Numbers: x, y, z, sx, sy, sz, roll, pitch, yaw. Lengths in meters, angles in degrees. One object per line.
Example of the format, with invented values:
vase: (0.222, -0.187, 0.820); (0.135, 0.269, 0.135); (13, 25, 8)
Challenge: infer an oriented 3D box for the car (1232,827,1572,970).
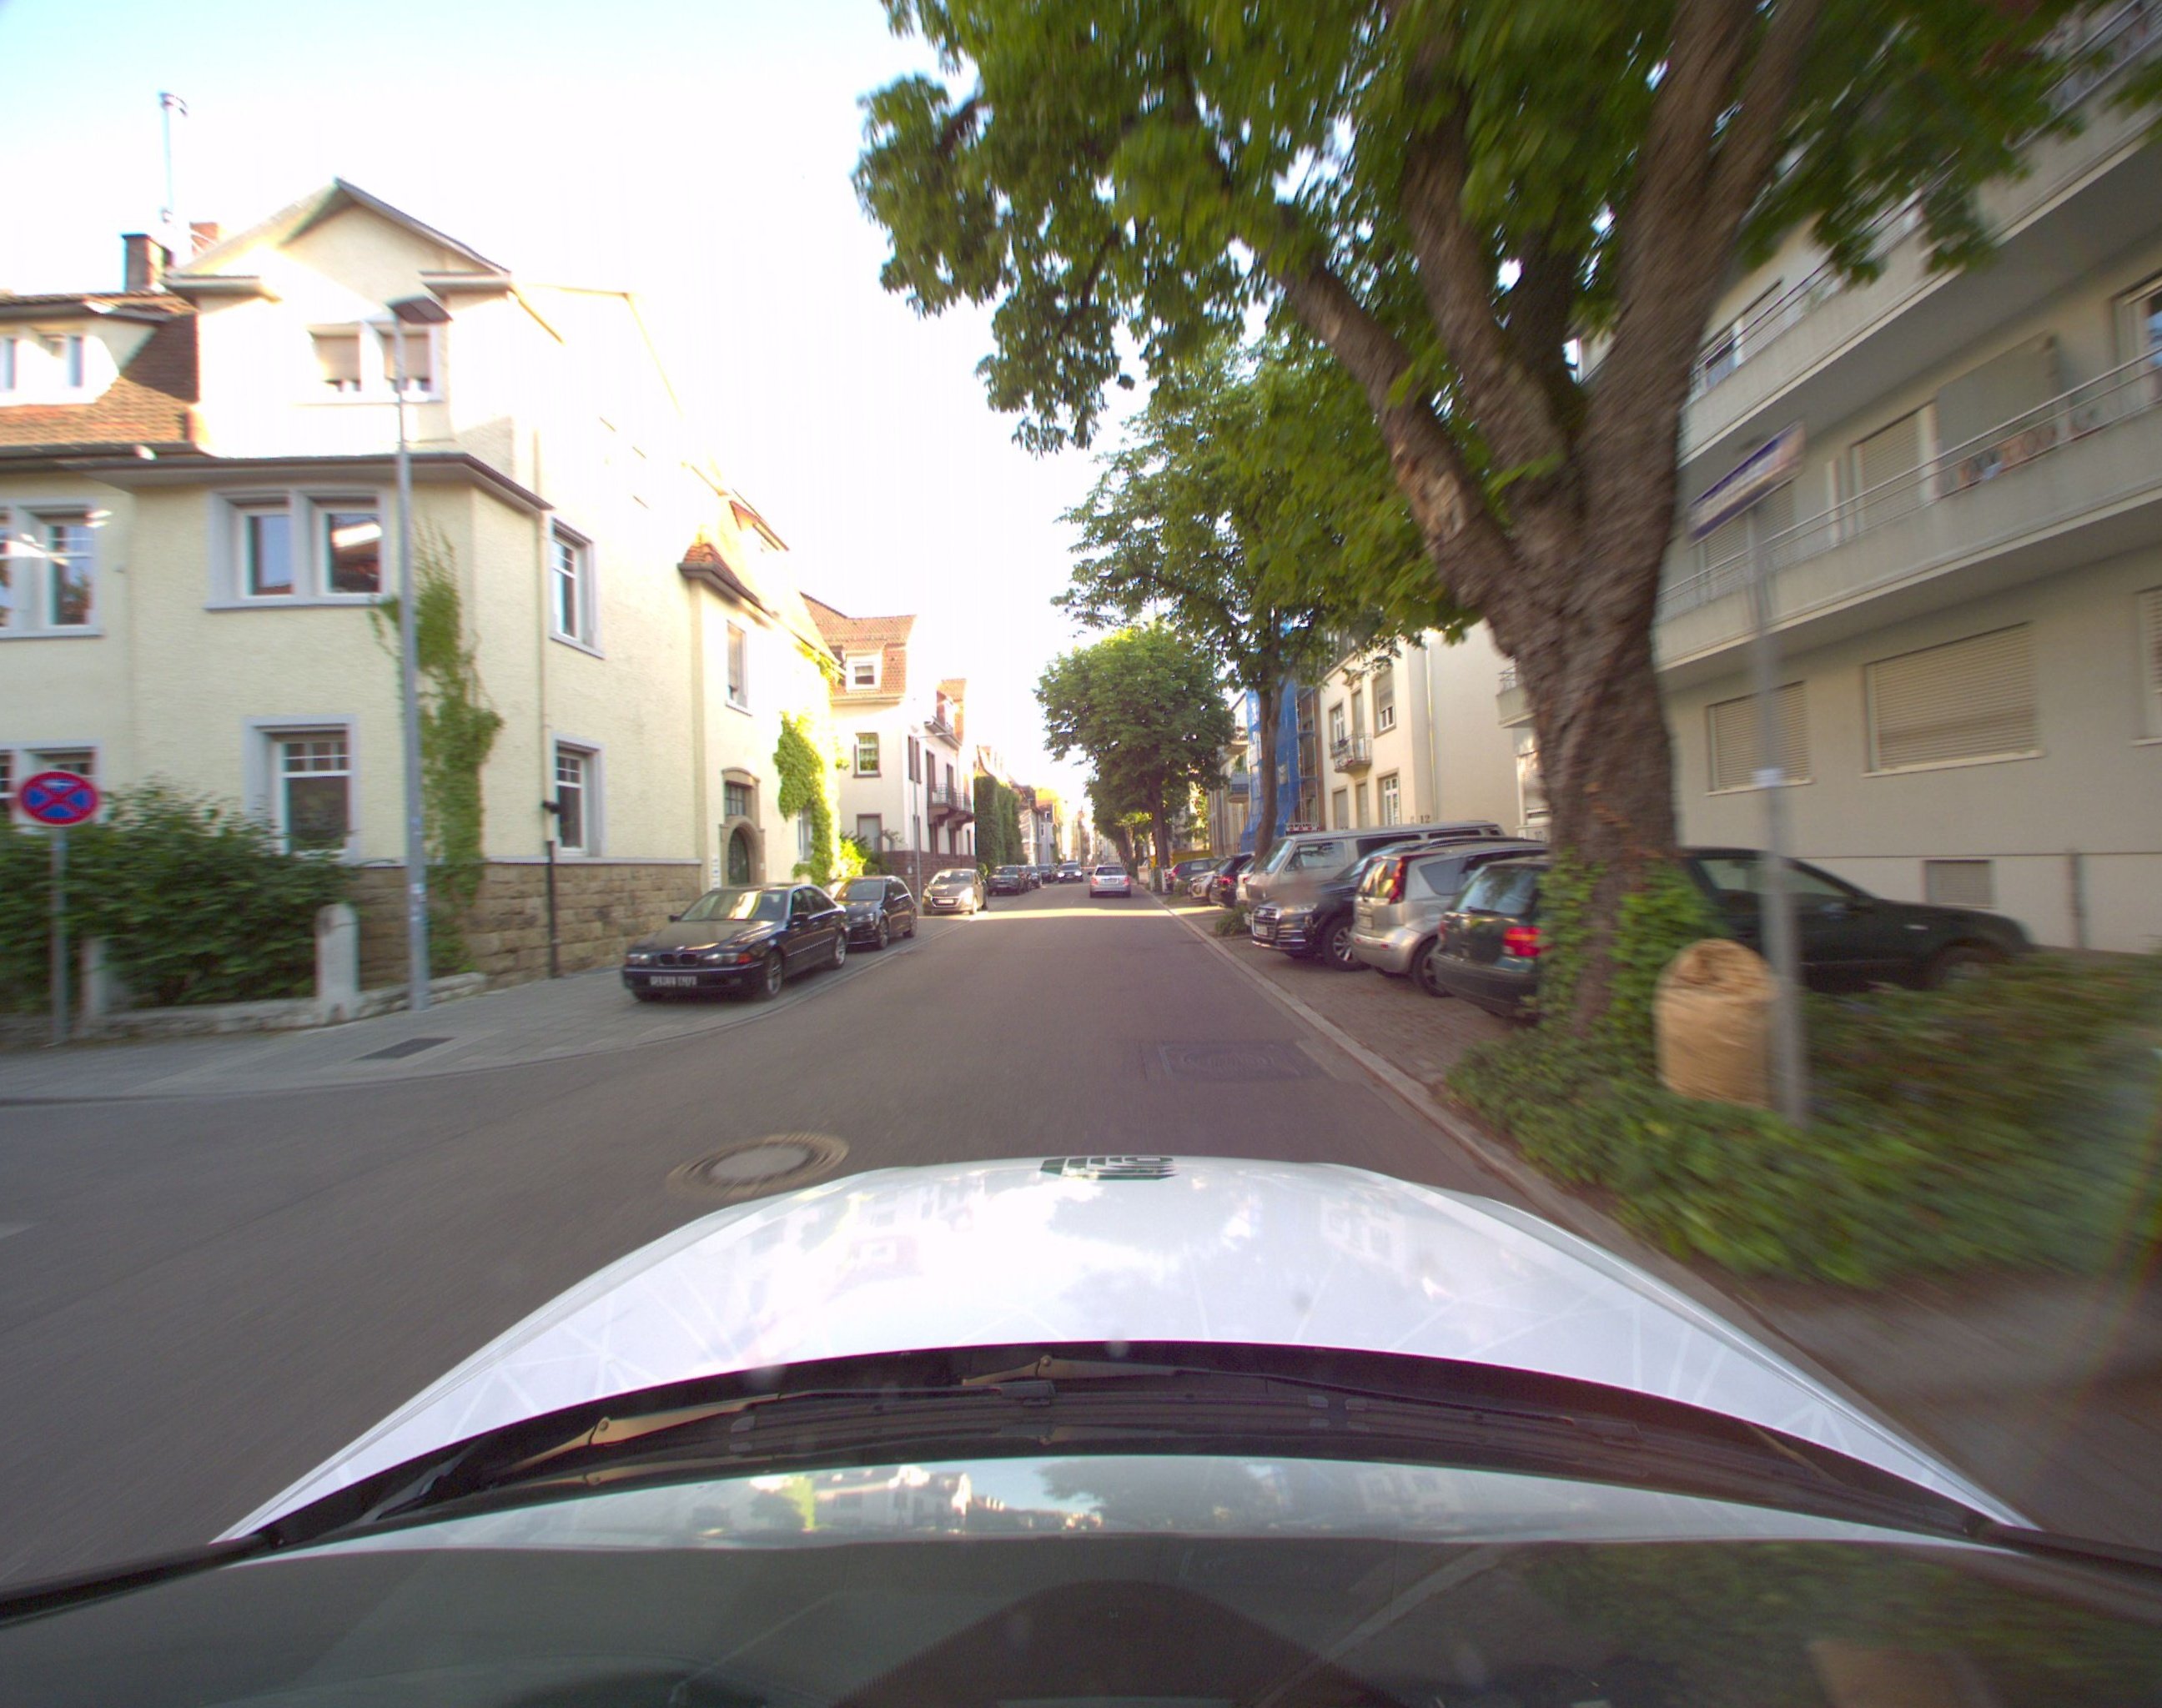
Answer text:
car: (4.499, 0.601, 11.770); (4.170, 1.724, 1.762); (-2, -2, -6)

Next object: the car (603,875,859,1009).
car: (-4.718, 1.093, 11.834); (1.704, 1.470, 4.632); (-1, -1, 0)

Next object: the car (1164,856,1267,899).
car: (5.528, 0.960, 33.909); (3.970, 1.492, 1.852); (-4, -1, 3)

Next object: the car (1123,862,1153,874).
car: (8.336, 2.099, 119.050); (4.171, 1.475, 1.853); (-4, -1, 4)

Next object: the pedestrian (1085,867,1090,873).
pedestrian: (1.822, 4.400, 221.069); (1.215, 1.722, 1.505); (-1, -1, 5)

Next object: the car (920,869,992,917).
car: (-4.134, 1.272, 27.497); (1.647, 1.447, 4.006); (-1, -1, 2)

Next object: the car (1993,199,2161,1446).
car: (5.041, -0.173, 1.135); (5.078, 2.902, 2.076); (-3, -1, 0)

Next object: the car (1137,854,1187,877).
car: (7.406, 1.041, 74.532); (4.299, 1.807, 2.000); (-4, -1, 1)

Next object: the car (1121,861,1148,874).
car: (8.949, 2.193, 135.748); (4.207, 1.896, 1.905); (-4, -1, -1)

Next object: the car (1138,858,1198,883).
car: (6.257, 1.175, 58.684); (4.126, 1.535, 1.688); (-4, -1, 3)

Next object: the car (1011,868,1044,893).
car: (-3.353, 1.625, 51.800); (1.787, 1.461, 4.775); (-1, -1, -1)

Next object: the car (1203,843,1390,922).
car: (5.464, 0.715, 21.010); (4.316, 1.683, 1.706); (-4, 0, 1)

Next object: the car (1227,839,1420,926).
car: (5.484, 0.638, 18.835); (3.931, 1.683, 1.707); (-4, 0, 4)

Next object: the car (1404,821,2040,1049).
car: (4.843, 0.597, 6.599); (3.708, 1.431, 1.758); (-2, -2, 0)

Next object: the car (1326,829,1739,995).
car: (4.898, 0.613, 9.209); (3.708, 1.554, 1.639); (-2, -2, 0)

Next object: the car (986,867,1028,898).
car: (-3.717, 1.421, 41.544); (1.647, 1.486, 3.766); (-1, -1, 2)

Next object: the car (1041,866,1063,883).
car: (-2.686, 1.900, 75.394); (1.697, 1.460, 3.920); (-1, -1, 3)

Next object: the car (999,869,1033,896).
car: (-3.612, 1.570, 45.855); (1.648, 1.447, 3.843); (-1, -1, -1)

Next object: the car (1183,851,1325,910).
car: (5.481, 0.841, 26.217); (4.141, 1.539, 1.851); (-4, -1, 1)

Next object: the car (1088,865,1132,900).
car: (1.282, 1.235, 35.755); (1.777, 1.437, 3.852); (-1, -2, 2)

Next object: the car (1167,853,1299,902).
car: (5.778, 0.888, 31.368); (4.701, 1.535, 1.851); (-4, -1, 1)

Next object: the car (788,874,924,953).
car: (-4.623, 1.166, 17.368); (1.647, 1.415, 4.168); (-1, -1, 1)

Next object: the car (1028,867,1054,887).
car: (-3.063, 1.735, 62.832); (1.643, 1.421, 4.100); (-1, -1, 2)

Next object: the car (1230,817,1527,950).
car: (5.045, 0.499, 14.261); (4.456, 2.014, 1.895); (-2, -1, -1)

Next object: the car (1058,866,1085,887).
car: (-0.686, 1.688, 61.858); (1.765, 1.448, 4.001); (-3, -1, 1)

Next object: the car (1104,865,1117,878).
car: (3.744, 2.206, 103.750); (1.617, 1.570, 3.682); (-2, -1, 2)
